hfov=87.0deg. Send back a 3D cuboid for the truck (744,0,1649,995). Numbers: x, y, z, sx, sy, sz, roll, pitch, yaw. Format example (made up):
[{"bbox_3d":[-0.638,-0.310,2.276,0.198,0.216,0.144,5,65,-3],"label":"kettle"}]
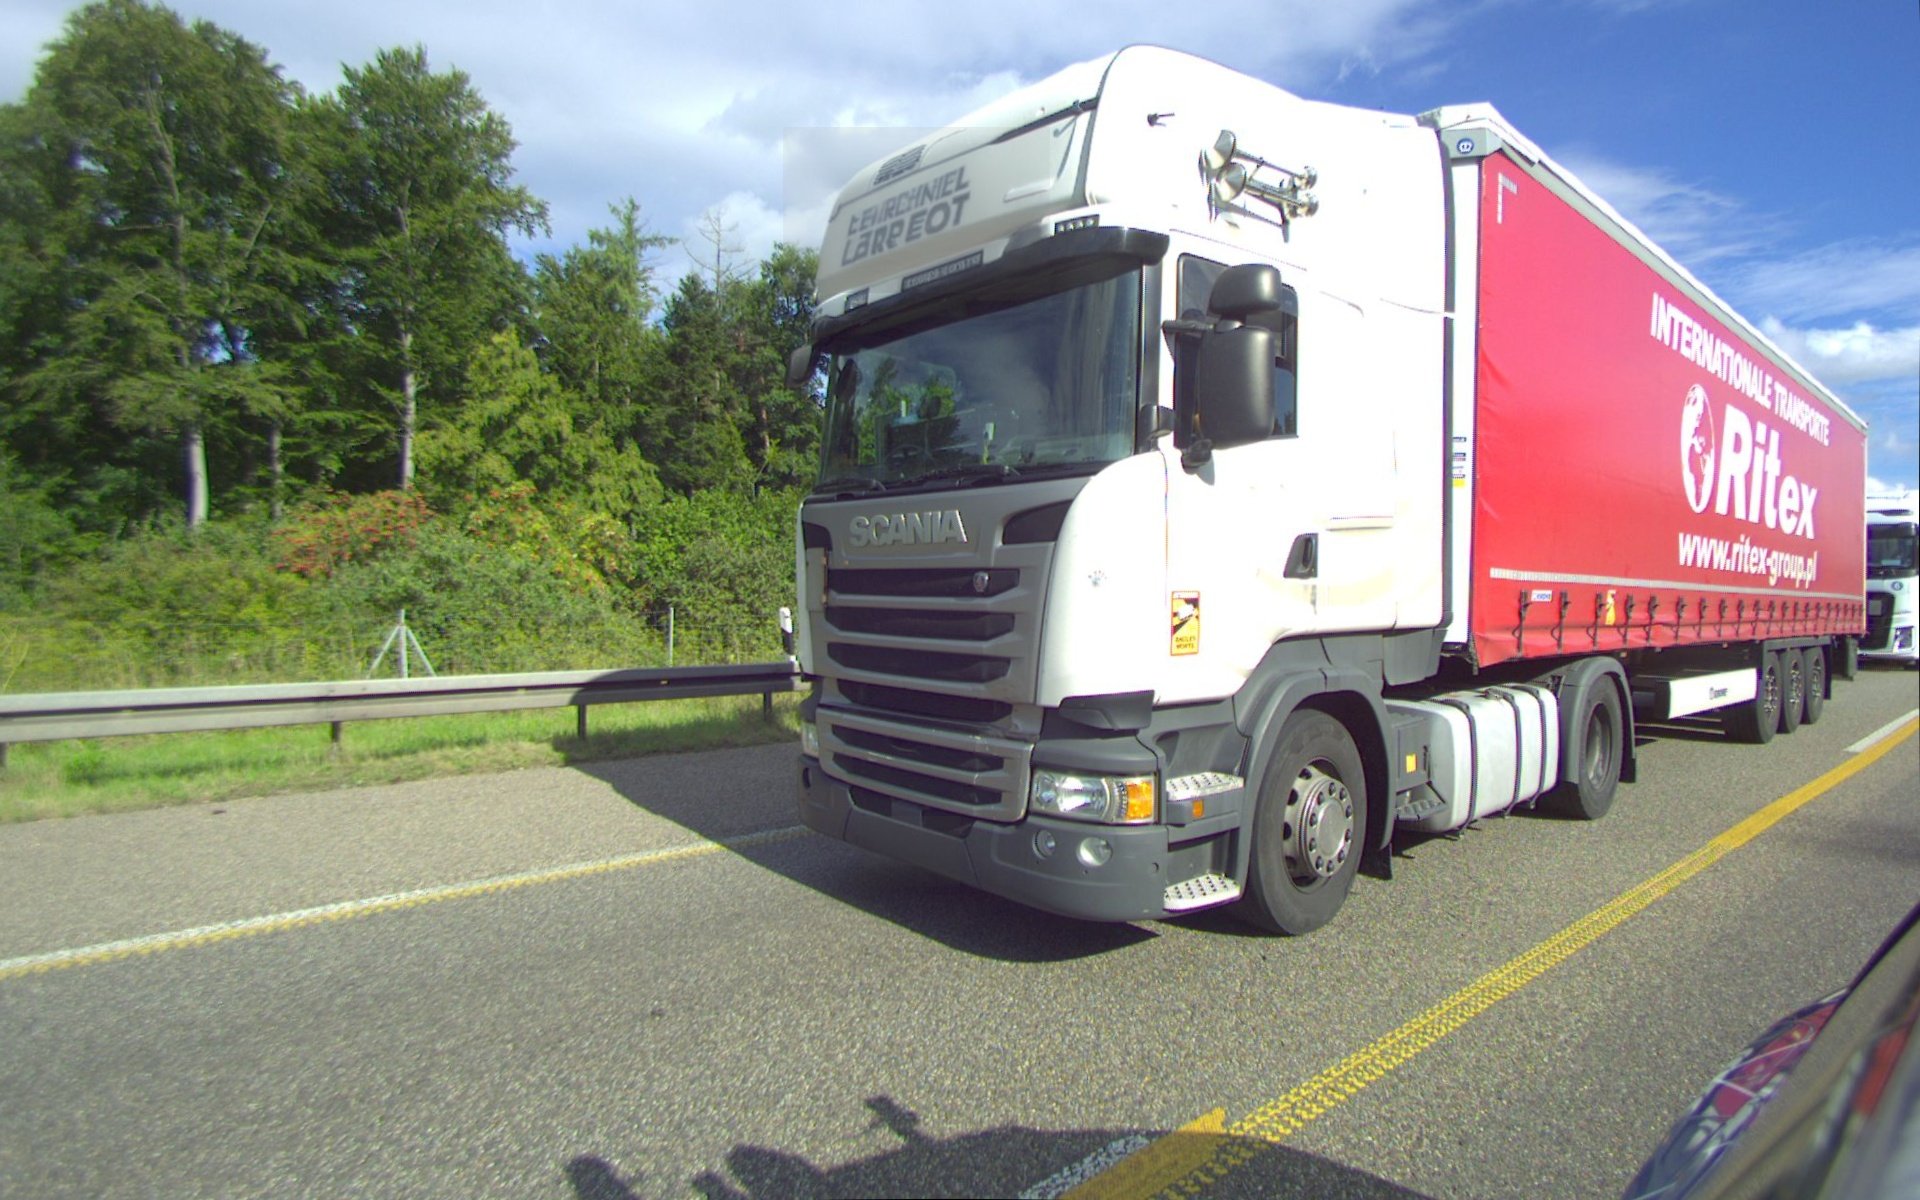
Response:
[{"bbox_3d":[1.836,-0.729,6.196,5.612,4.010,2.672,0,0,-42],"label":"truck"}]

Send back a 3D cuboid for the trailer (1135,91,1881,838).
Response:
[{"bbox_3d":[7.106,-0.751,10.844,13.184,4.019,2.704,0,0,-42],"label":"trailer"}]

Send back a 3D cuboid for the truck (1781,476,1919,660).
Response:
[{"bbox_3d":[21.543,-0.695,23.733,5.687,3.828,2.500,0,0,-40],"label":"truck"}]

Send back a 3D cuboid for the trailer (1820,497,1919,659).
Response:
[{"bbox_3d":[26.875,-0.545,28.153,11.918,3.822,2.476,0,0,-40],"label":"trailer"}]
